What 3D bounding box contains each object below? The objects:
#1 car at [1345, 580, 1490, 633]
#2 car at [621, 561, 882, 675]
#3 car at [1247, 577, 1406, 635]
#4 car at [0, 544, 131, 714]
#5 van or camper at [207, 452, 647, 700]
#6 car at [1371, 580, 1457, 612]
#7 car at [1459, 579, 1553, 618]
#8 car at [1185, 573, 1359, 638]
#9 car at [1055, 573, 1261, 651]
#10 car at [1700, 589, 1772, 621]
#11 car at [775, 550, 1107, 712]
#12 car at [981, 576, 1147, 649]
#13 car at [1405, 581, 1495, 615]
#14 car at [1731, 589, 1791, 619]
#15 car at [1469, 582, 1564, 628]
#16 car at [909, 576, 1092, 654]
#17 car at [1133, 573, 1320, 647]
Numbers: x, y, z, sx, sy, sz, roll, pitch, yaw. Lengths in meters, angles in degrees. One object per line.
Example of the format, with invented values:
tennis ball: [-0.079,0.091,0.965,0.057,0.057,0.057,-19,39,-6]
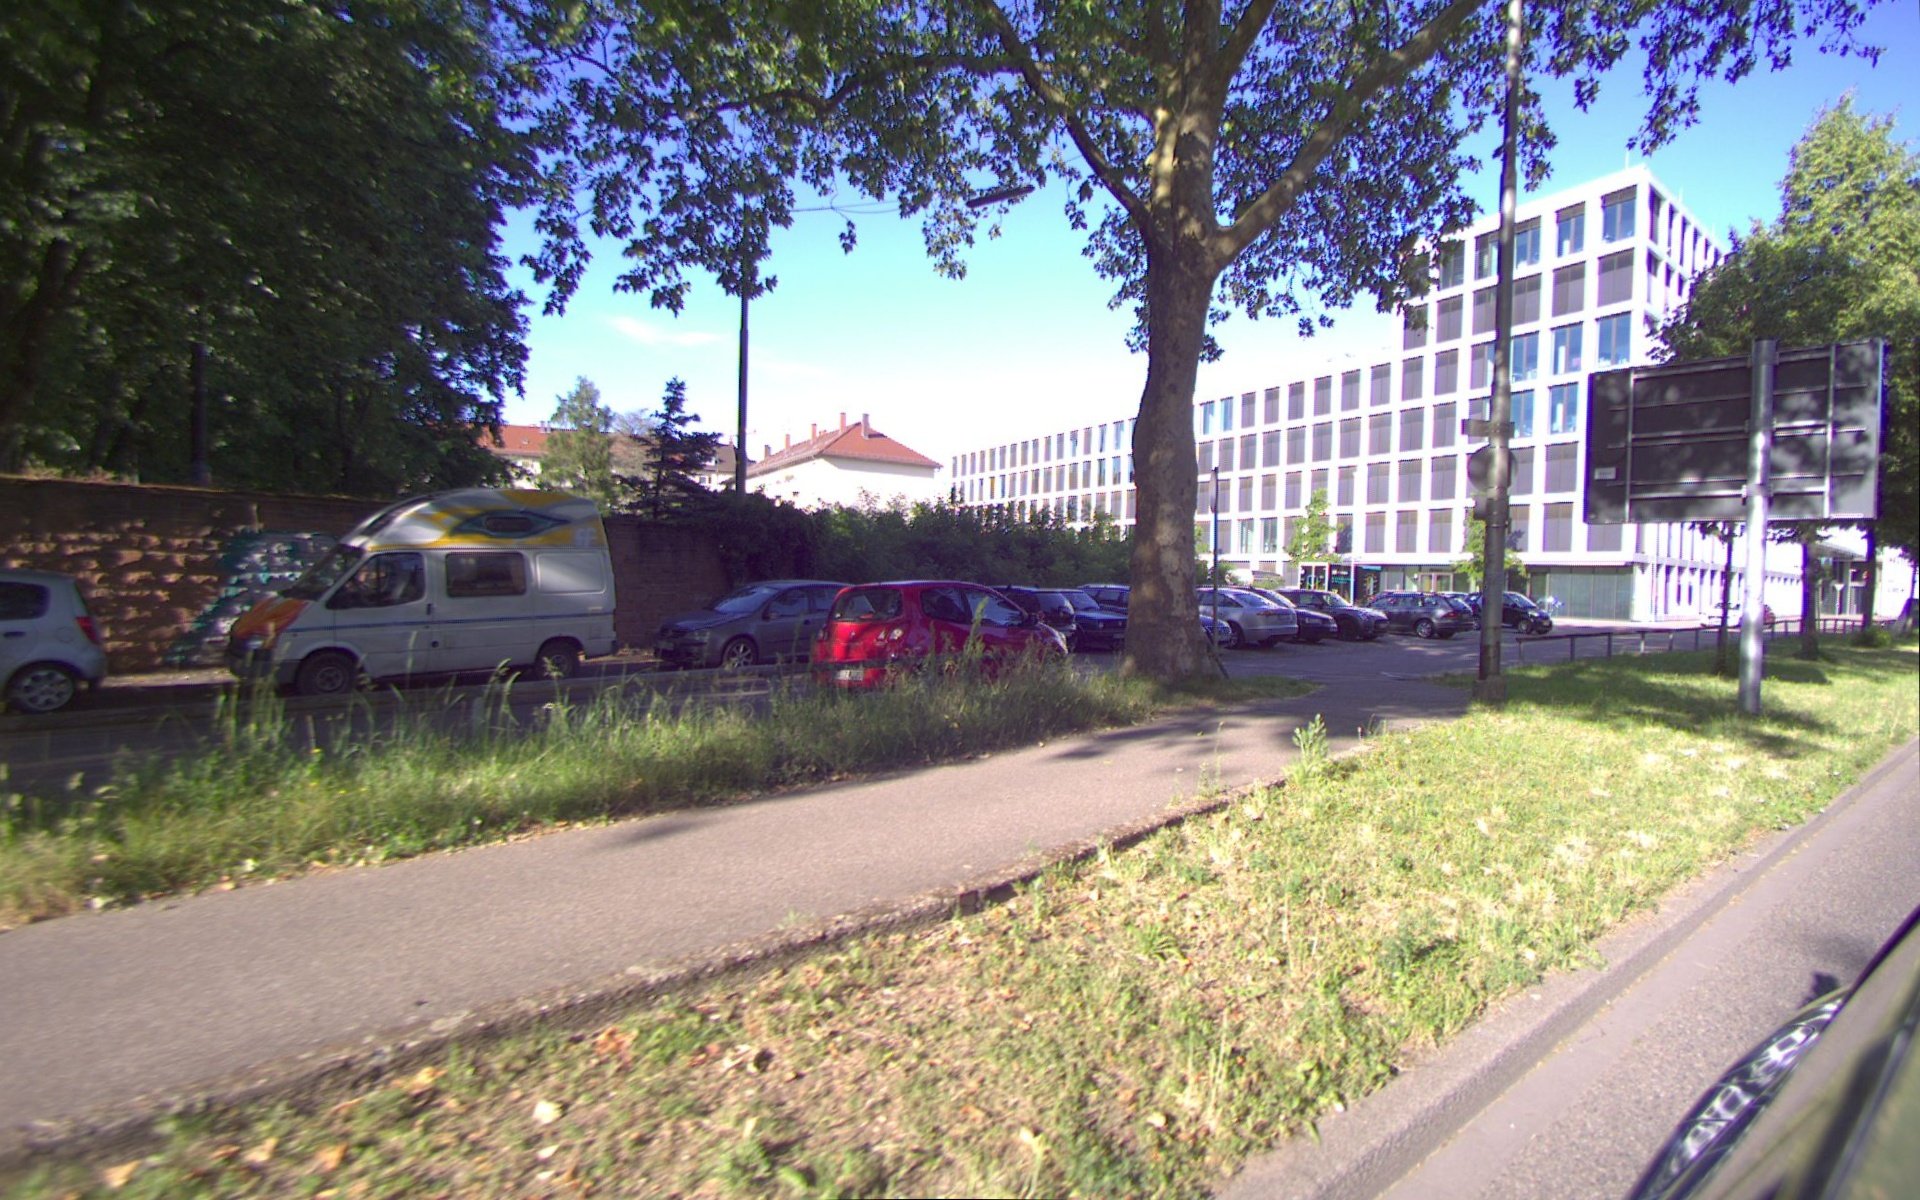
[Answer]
car: [15.238,0.150,33.880,1.685,1.485,4.090,-1,4,-39]
car: [-3.454,0.215,17.243,1.993,1.592,3.940,6,5,41]
car: [11.059,0.139,30.734,1.752,1.517,4.197,0,3,-43]
car: [-11.000,0.270,10.089,1.837,1.637,3.945,6,4,38]
van or camper: [-7.000,-0.368,13.668,4.882,2.763,1.996,-1,5,-44]
car: [22.507,-0.216,50.167,3.868,1.559,1.726,-1,0,-22]
car: [24.564,-0.084,45.559,3.739,1.565,1.602,2,2,-21]
car: [8.821,0.126,28.850,1.875,1.496,4.334,1,3,-44]
car: [4.740,0.216,24.815,1.965,1.422,4.733,0,5,-40]
car: [41.782,0.245,54.495,4.322,1.503,2.000,0,5,-38]
car: [-0.101,0.293,12.525,1.992,1.660,3.941,0,1,41]
car: [2.373,0.234,23.972,1.590,1.409,4.000,0,4,-37]
car: [23.214,-0.111,47.931,3.800,1.555,1.755,-1,0,-22]
car: [45.577,0.203,57.565,4.198,1.503,1.869,-1,5,-41]
car: [21.125,0.142,38.471,1.433,1.568,2.778,0,3,-31]
car: [0.813,0.257,22.408,1.736,1.523,3.992,0,2,-43]
car: [6.897,0.193,26.613,1.963,1.427,4.396,0,6,-38]
